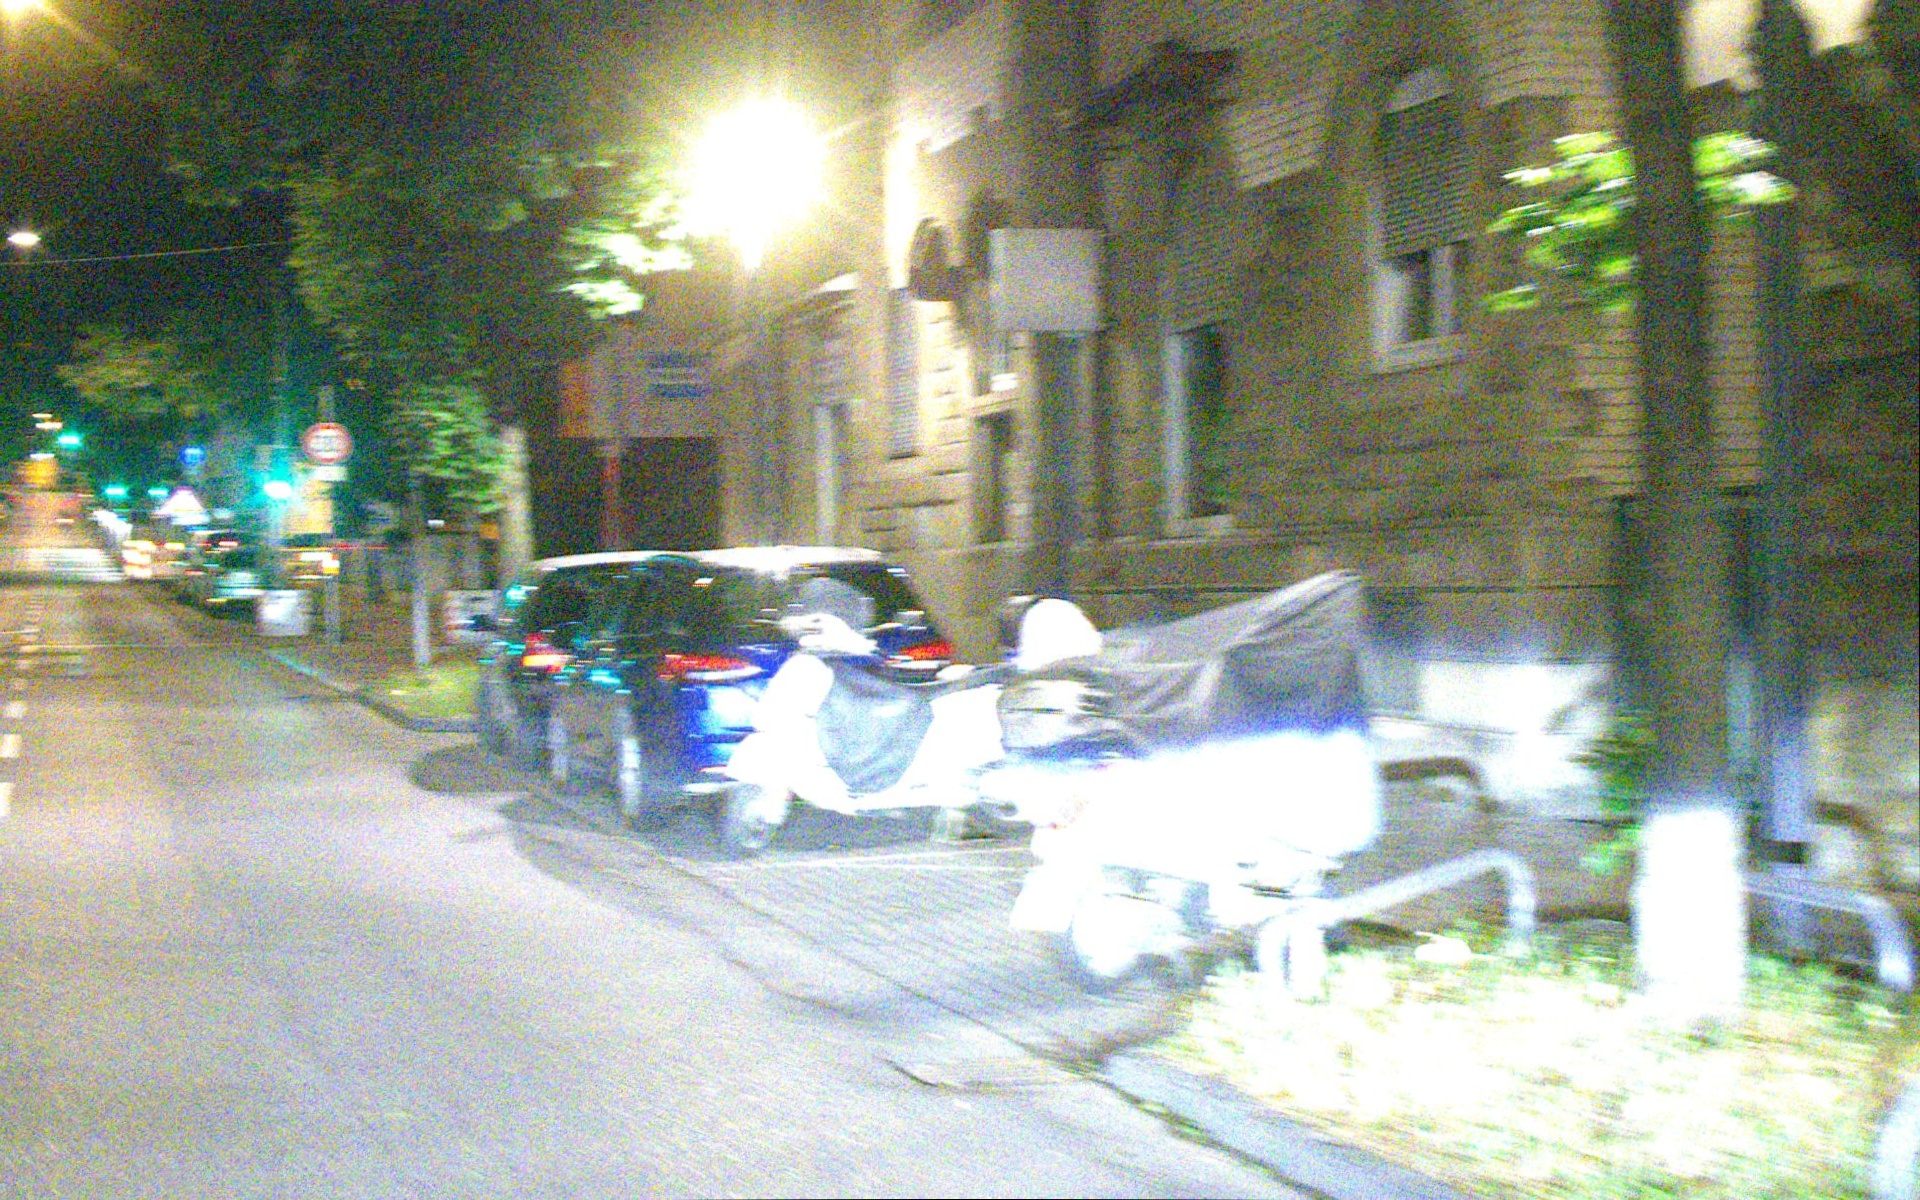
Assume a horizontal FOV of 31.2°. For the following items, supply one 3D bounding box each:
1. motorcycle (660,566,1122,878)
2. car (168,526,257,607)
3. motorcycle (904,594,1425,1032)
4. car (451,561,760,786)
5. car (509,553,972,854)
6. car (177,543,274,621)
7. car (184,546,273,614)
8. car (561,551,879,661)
[{"bbox_3d":[-0.342,0.566,17.027,2.052,1.401,0.925,-2,1,-24],"label":"motorcycle"},{"bbox_3d":[-17.764,-0.821,81.594,1.735,1.848,4.318,-1,1,-16],"label":"car"},{"bbox_3d":[0.741,0.670,11.824,0.762,1.348,1.940,0,1,40],"label":"motorcycle"},{"bbox_3d":[-2.626,0.458,24.680,1.736,1.449,4.001,-1,1,-12],"label":"car"},{"bbox_3d":[-1.386,0.503,19.675,1.732,1.496,4.468,-1,1,-16],"label":"car"},{"bbox_3d":[-15.215,-0.399,71.068,1.739,1.472,4.001,-3,2,-14],"label":"car"},{"bbox_3d":[-16.156,-0.458,75.803,1.685,1.416,4.445,-1,1,-15],"label":"car"},{"bbox_3d":[-3.290,0.082,46.892,4.013,1.417,1.853,-1,-1,-16],"label":"car"}]
